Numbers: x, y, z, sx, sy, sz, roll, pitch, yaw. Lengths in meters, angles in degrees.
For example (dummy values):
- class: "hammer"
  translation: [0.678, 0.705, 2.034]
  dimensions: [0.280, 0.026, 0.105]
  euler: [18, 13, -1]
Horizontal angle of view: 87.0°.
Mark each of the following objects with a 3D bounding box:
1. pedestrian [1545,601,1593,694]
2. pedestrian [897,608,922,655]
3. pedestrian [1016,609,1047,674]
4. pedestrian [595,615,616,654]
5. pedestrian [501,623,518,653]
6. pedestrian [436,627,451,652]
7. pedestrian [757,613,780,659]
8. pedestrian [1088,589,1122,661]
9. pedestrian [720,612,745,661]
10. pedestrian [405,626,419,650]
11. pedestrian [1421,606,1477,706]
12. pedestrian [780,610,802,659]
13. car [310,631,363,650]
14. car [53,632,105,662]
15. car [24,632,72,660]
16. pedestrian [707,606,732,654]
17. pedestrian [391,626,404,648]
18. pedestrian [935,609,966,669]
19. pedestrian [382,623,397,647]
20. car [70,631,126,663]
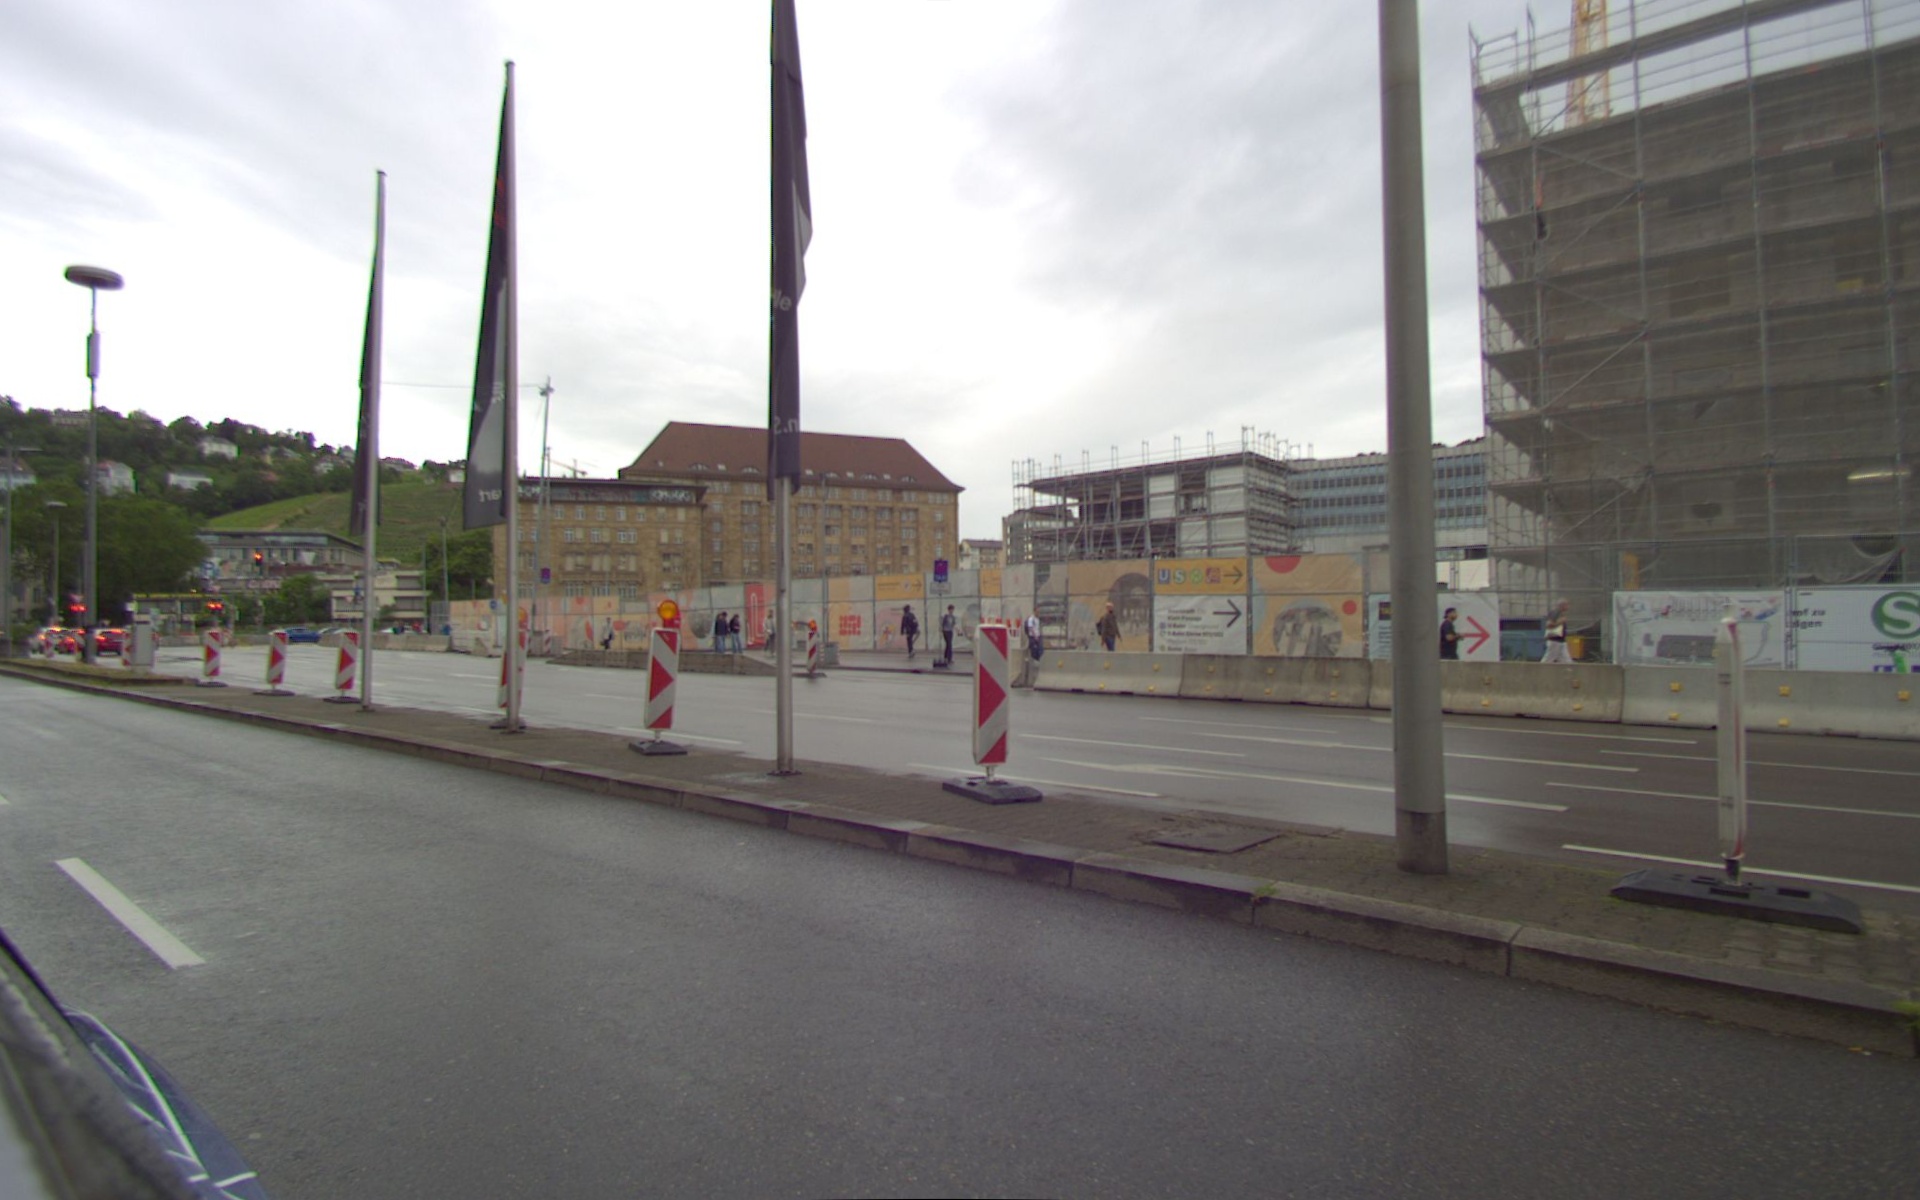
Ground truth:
- class: "pedestrian"
  translation: [12.326, 0.951, 20.488]
  dimensions: [0.717, 1.850, 0.475]
  euler: [-1, 0, 41]
- class: "pedestrian"
  translation: [-1.774, 1.088, 35.662]
  dimensions: [0.544, 1.628, 0.706]
  euler: [-1, 0, 41]
- class: "pedestrian"
  translation: [2.067, 1.206, 29.396]
  dimensions: [0.717, 1.850, 0.475]
  euler: [-1, 0, 41]
- class: "pedestrian"
  translation: [-16.833, 1.625, 48.050]
  dimensions: [0.720, 1.850, 0.656]
  euler: [-1, 0, 41]
- class: "pedestrian"
  translation: [-24.932, 2.079, 55.984]
  dimensions: [0.544, 1.628, 0.706]
  euler: [-1, 0, 41]
- class: "pedestrian"
  translation: [-33.520, 2.548, 65.728]
  dimensions: [0.544, 1.628, 0.706]
  euler: [-1, 0, 41]
- class: "pedestrian"
  translation: [-7.411, 1.371, 39.123]
  dimensions: [0.704, 1.757, 0.565]
  euler: [-1, 0, -29]
- class: "pedestrian"
  translation: [3.838, 0.651, 26.711]
  dimensions: [0.717, 1.850, 0.475]
  euler: [-1, 0, 41]
- class: "pedestrian"
  translation: [-8.858, 1.412, 39.384]
  dimensions: [0.704, 1.850, 0.719]
  euler: [-1, 0, -31]
- class: "pedestrian"
  translation: [-38.360, 2.657, 70.786]
  dimensions: [0.544, 1.628, 0.706]
  euler: [-1, 0, 41]
- class: "pedestrian"
  translation: [9.323, 1.053, 19.300]
  dimensions: [0.819, 1.850, 0.572]
  euler: [-1, 0, 41]
- class: "pedestrian"
  translation: [-6.503, 1.336, 38.957]
  dimensions: [0.651, 1.850, 0.557]
  euler: [-1, 0, -29]
- class: "car"
  translation: [-56.831, 3.645, 92.283]
  dimensions: [3.934, 1.644, 2.005]
  euler: [0, -2, -36]
- class: "car"
  translation: [-53.087, 2.801, 60.947]
  dimensions: [3.913, 1.707, 1.763]
  euler: [-1, 0, 40]
- class: "car"
  translation: [-58.315, 2.911, 64.697]
  dimensions: [3.913, 1.707, 1.763]
  euler: [-1, 0, 40]
- class: "pedestrian"
  translation: [-9.062, 1.119, 38.122]
  dimensions: [0.704, 1.746, 0.719]
  euler: [-1, 0, -31]
- class: "pedestrian"
  translation: [-42.470, 2.771, 76.435]
  dimensions: [0.544, 1.628, 0.706]
  euler: [-1, 0, 41]
- class: "pedestrian"
  translation: [-0.302, 1.216, 31.602]
  dimensions: [0.717, 1.850, 0.579]
  euler: [-1, 0, 41]
- class: "pedestrian"
  translation: [-39.481, 2.420, 70.052]
  dimensions: [0.544, 1.628, 0.706]
  euler: [-1, 0, 41]
- class: "car"
  translation: [-47.547, 2.547, 55.793]
  dimensions: [3.914, 1.707, 1.762]
  euler: [-2, -2, 41]
